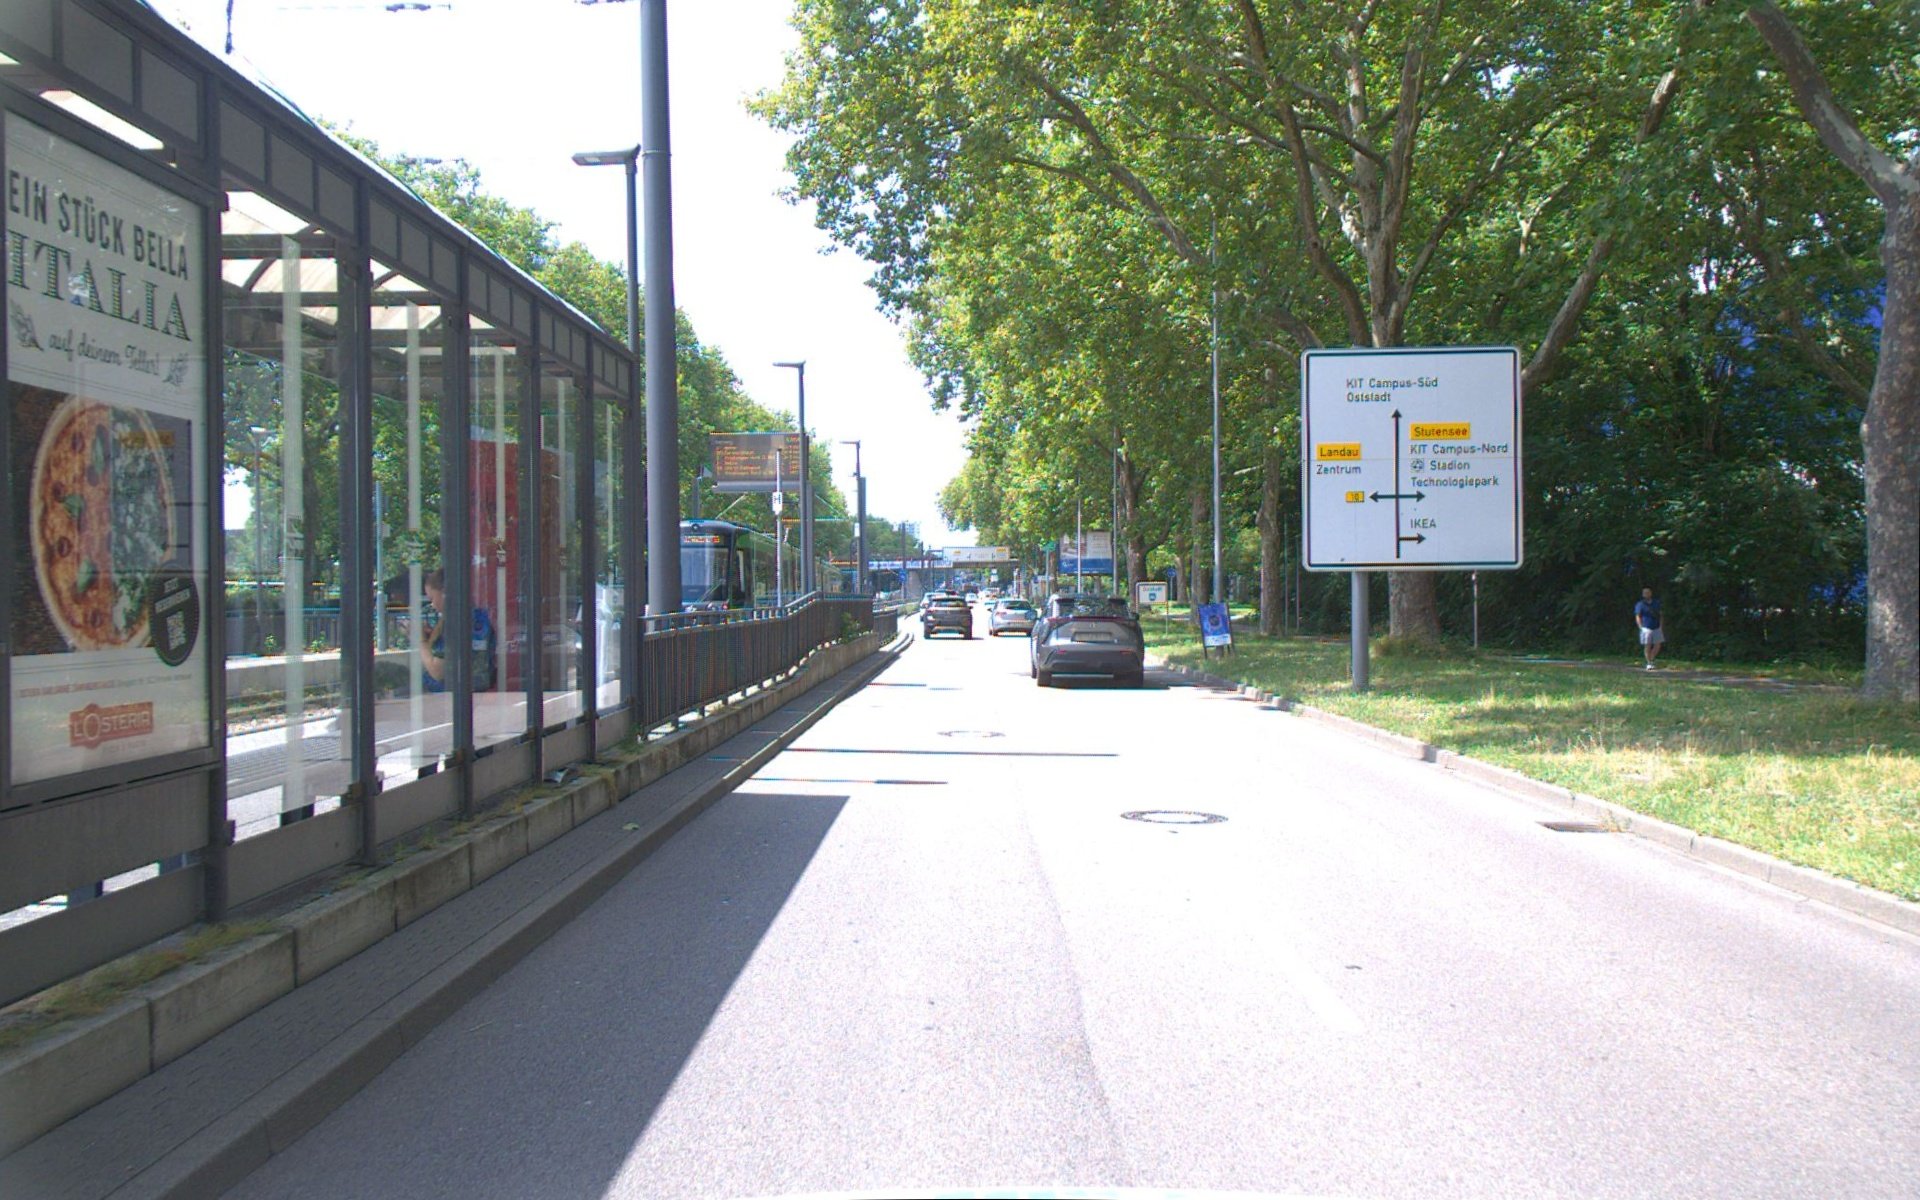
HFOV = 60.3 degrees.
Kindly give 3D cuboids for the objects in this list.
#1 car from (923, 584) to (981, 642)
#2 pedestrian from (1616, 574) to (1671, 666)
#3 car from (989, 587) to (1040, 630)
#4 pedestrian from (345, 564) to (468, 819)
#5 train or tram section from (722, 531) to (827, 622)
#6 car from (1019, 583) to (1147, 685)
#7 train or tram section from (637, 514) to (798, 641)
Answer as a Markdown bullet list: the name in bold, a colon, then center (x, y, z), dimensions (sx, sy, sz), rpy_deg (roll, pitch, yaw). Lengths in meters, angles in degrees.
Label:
- **car**: center (-0.242, 0.447, 60.653), dimensions (1.952, 2.024, 4.364), rpy_deg (1, 0, 2)
- **pedestrian**: center (15.429, 0.447, 37.342), dimensions (0.819, 2.049, 0.956), rpy_deg (0, 0, -1)
- **car**: center (2.109, 0.335, 65.365), dimensions (1.794, 1.658, 4.295), rpy_deg (0, 0, -1)
- **pedestrian**: center (-2.841, 0.454, 8.518), dimensions (0.488, 1.274, 0.468), rpy_deg (0, 1, -3)
- **train or tram section**: center (-7.021, -0.853, 64.006), dimensions (2.975, 3.242, 9.447), rpy_deg (0, 0, 0)
- **car**: center (2.132, 0.583, 29.776), dimensions (1.859, 1.704, 4.518), rpy_deg (0, 0, -1)
- **train or tram section**: center (-6.910, -0.595, 49.466), dimensions (2.975, 3.242, 14.097), rpy_deg (0, 0, -1)
